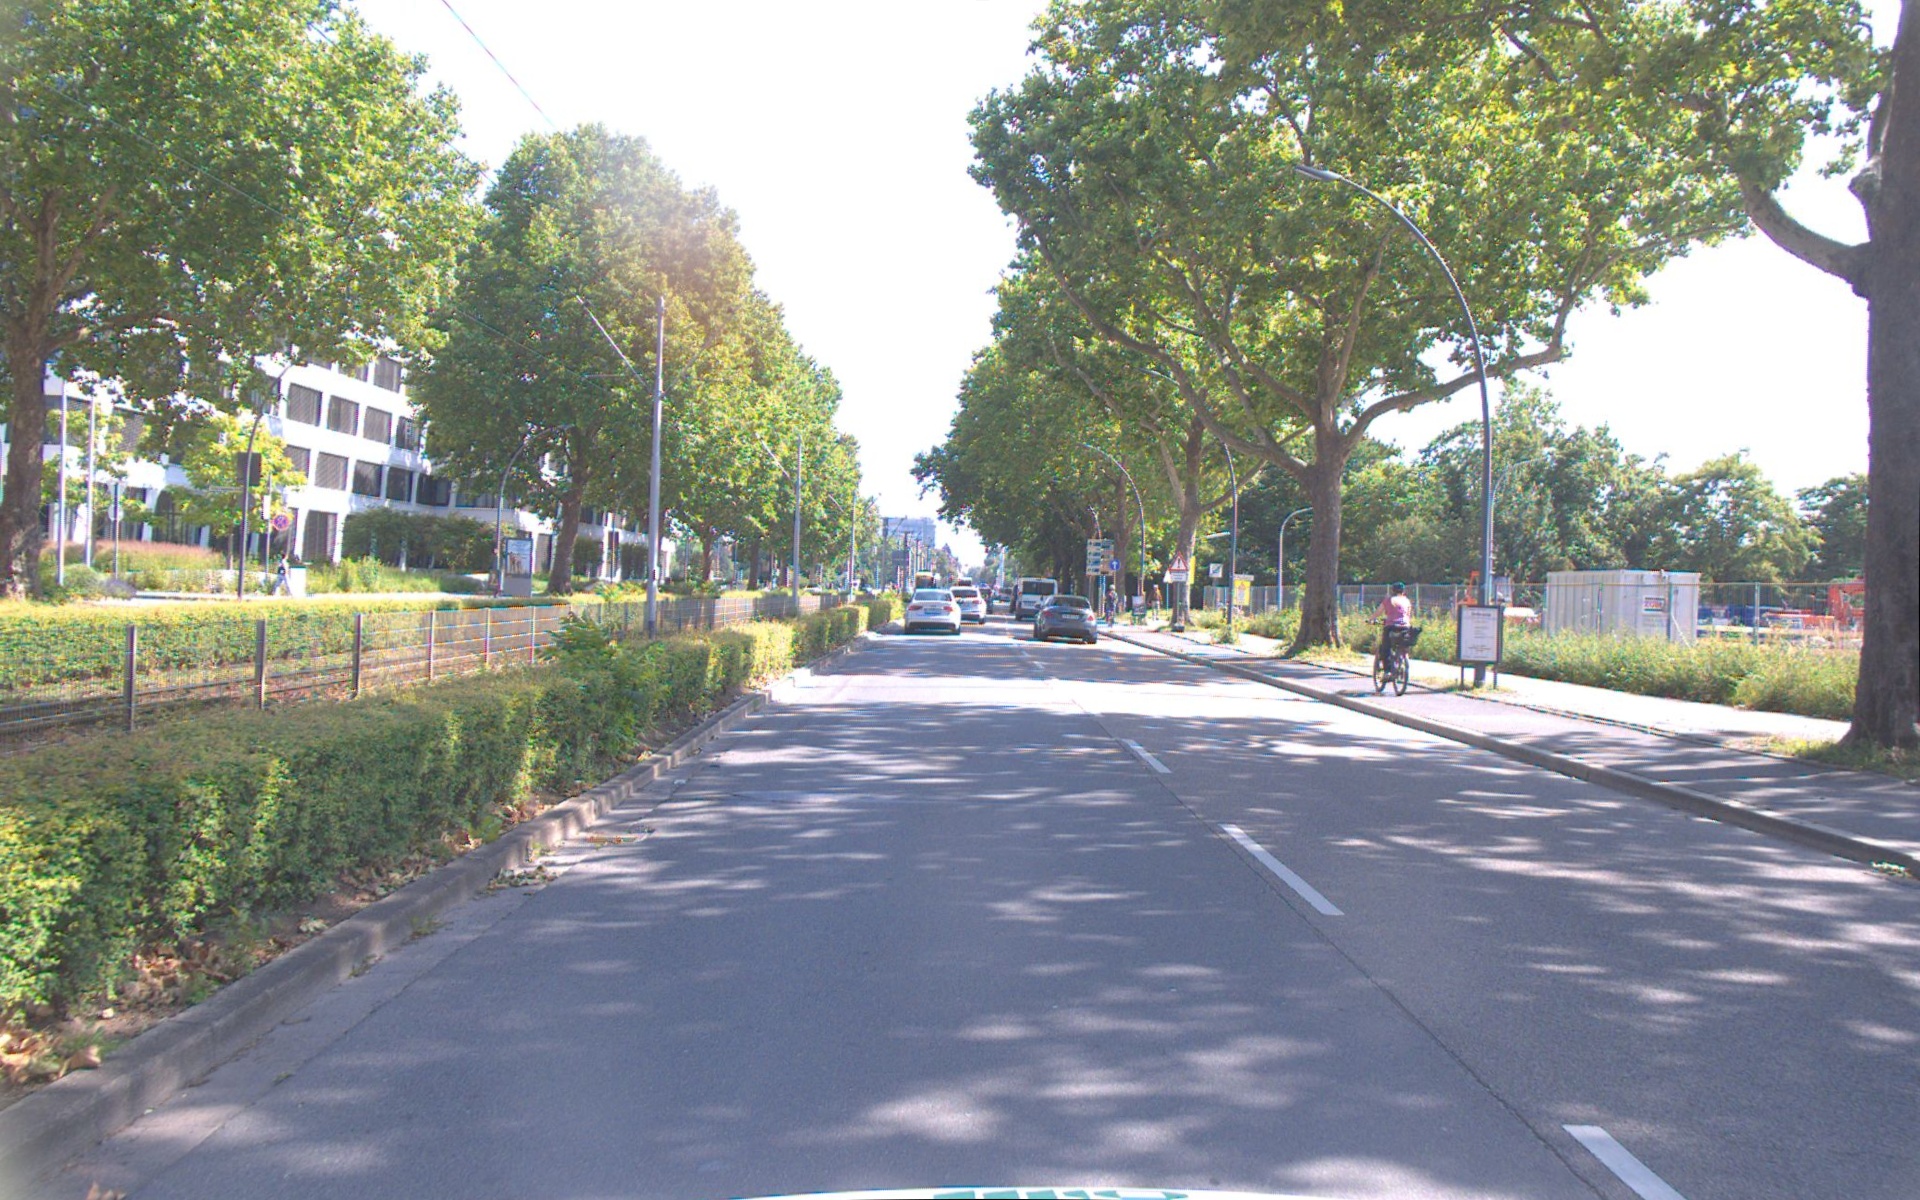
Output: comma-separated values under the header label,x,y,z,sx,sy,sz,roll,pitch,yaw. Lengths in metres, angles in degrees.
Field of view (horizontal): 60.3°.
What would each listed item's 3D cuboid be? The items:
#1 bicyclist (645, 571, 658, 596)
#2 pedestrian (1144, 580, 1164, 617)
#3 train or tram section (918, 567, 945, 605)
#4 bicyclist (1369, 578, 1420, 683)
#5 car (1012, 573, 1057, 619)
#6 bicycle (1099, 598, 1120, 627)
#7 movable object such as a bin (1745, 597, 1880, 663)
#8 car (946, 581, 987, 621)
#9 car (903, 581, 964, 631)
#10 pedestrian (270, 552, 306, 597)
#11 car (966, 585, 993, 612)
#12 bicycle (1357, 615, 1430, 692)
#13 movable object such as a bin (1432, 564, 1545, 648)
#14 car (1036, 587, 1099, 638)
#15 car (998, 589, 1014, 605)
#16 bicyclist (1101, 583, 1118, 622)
label,x,y,z,sx,sy,sz,roll,pitch,yaw
bicyclist,-20.143,-1.088,108.098,0.641,1.561,0.641,2,0,1
pedestrian,10.477,-0.086,89.403,0.919,1.925,1.151,2,0,1
train or tram section,-3.189,-1.508,186.831,2.563,4.085,7.750,2,0,2
bicyclist,6.843,0.473,26.075,0.607,1.628,0.732,0,0,-1
car,3.904,-0.194,86.887,2.184,2.250,4.162,2,0,1
bicycle,6.591,0.531,72.951,0.700,1.168,2.179,0,2,0
movable object such as a bin,42.962,1.488,83.491,5.069,3.027,3.294,3,0,1
car,0.306,0.054,72.194,1.694,1.633,3.885,2,0,1
car,-0.826,0.180,52.961,1.748,1.445,3.885,2,0,1
pedestrian,-24.940,-0.942,61.379,0.705,1.616,1.015,2,0,13
car,1.308,-0.091,108.408,1.694,1.633,3.885,2,0,1
bicycle,6.844,0.818,26.180,0.638,1.149,1.945,1,0,0
movable object such as a bin,21.203,0.190,66.664,2.322,3.125,5.983,2,0,-2
car,3.313,0.376,51.569,1.746,1.445,4.001,2,0,1
car,5.909,-0.368,212.147,2.029,2.034,4.059,2,0,1
bicyclist,6.593,0.087,72.938,0.621,1.676,0.979,0,1,0
